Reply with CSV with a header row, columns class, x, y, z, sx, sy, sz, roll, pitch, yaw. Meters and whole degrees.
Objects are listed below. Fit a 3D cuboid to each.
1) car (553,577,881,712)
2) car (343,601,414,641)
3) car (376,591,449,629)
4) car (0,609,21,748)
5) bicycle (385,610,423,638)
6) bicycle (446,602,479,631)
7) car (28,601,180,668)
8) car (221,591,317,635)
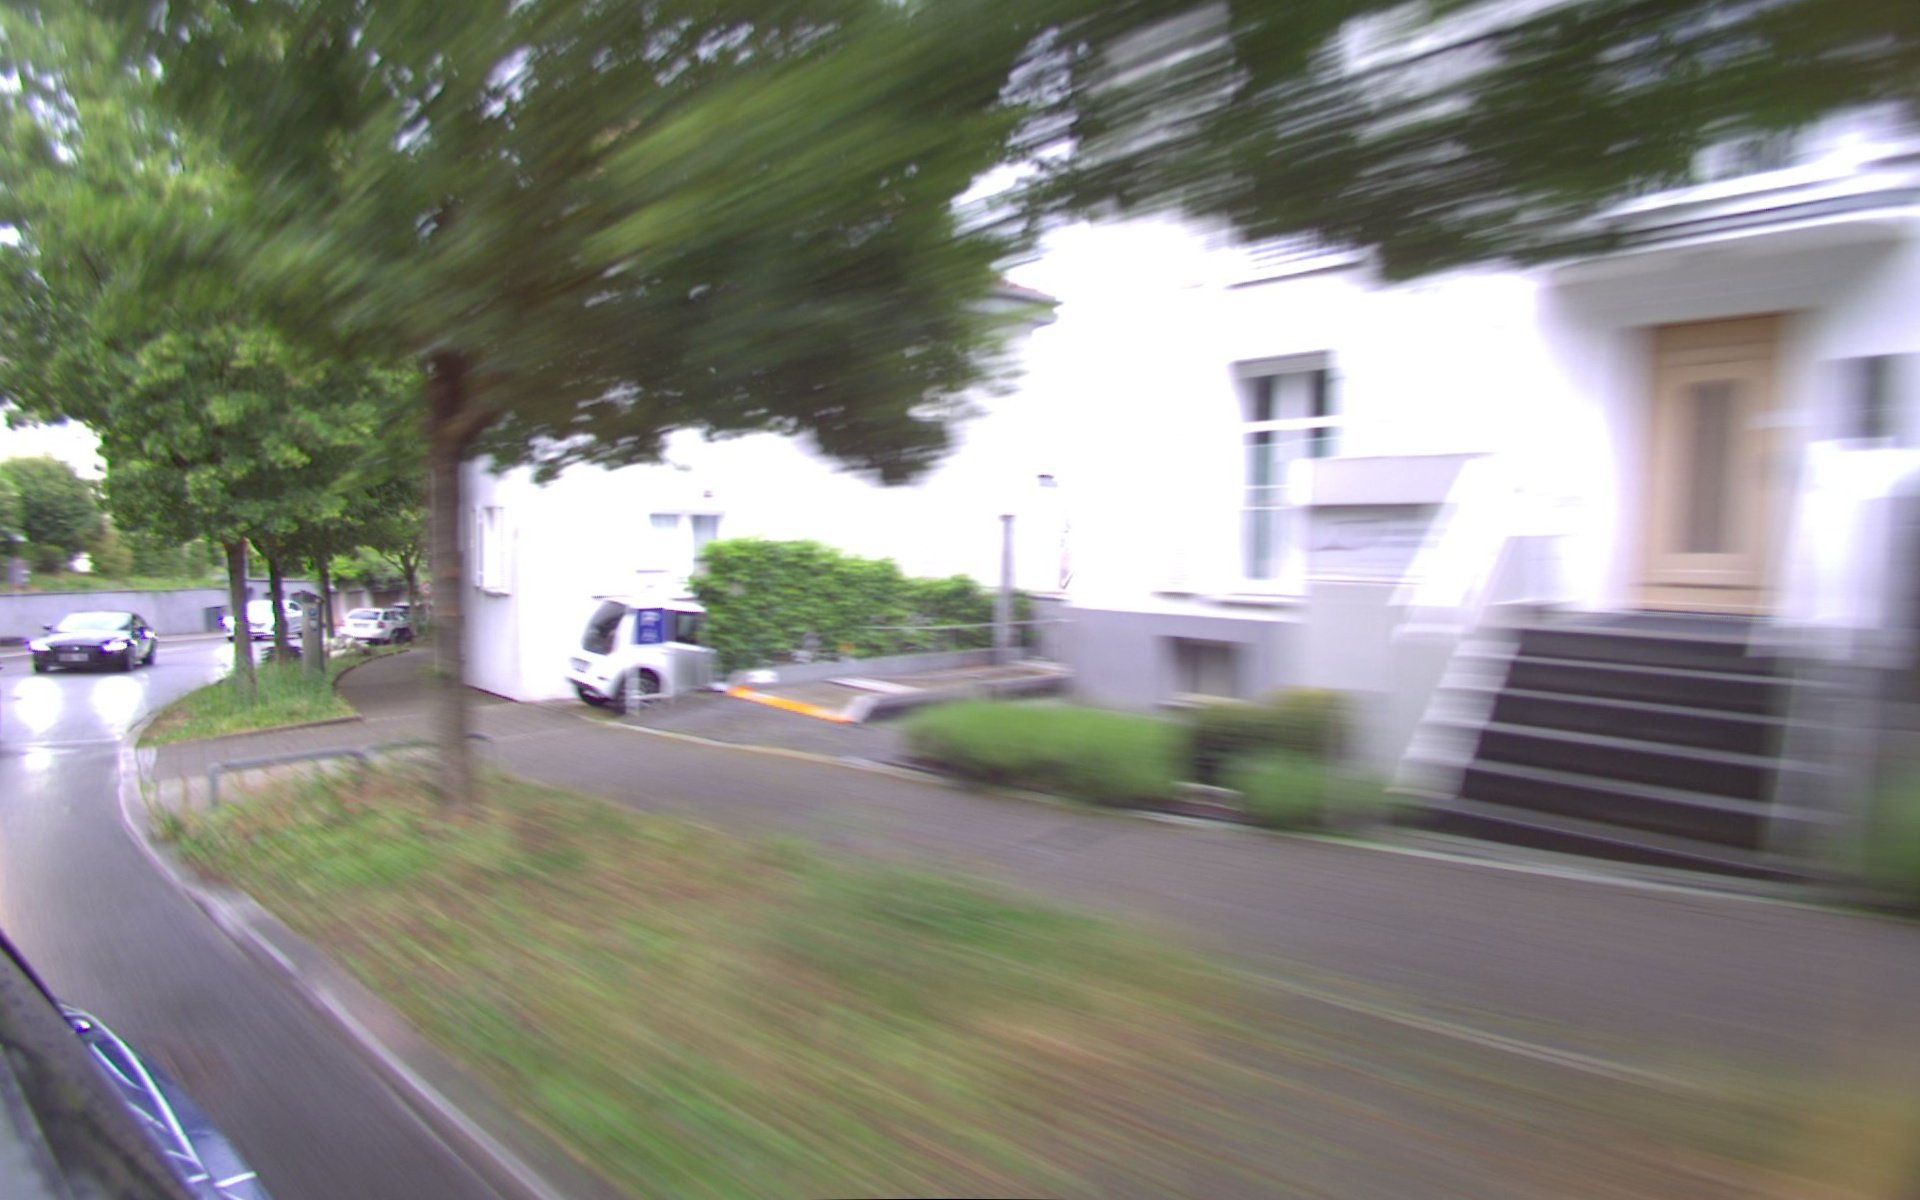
class,x,y,z,sx,sy,sz,roll,pitch,yaw
car,-3.198,0.530,13.667,3.935,1.573,1.753,1,0,-37
car,-23.679,0.817,41.343,1.658,1.520,4.329,0,0,-18
car,-24.905,0.450,46.178,1.659,1.621,4.587,2,-1,-12
car,-11.014,0.846,10.540,1.554,1.463,3.593,0,-1,-39
bicycle,-21.282,0.902,38.748,0.430,1.037,1.905,0,0,-1
bicycle,-22.040,0.707,44.845,0.611,1.261,1.906,0,0,-3
car,-21.268,0.822,25.342,1.777,1.500,4.030,-1,-1,-23
car,-28.580,0.498,42.026,1.980,1.674,4.459,2,0,-16
